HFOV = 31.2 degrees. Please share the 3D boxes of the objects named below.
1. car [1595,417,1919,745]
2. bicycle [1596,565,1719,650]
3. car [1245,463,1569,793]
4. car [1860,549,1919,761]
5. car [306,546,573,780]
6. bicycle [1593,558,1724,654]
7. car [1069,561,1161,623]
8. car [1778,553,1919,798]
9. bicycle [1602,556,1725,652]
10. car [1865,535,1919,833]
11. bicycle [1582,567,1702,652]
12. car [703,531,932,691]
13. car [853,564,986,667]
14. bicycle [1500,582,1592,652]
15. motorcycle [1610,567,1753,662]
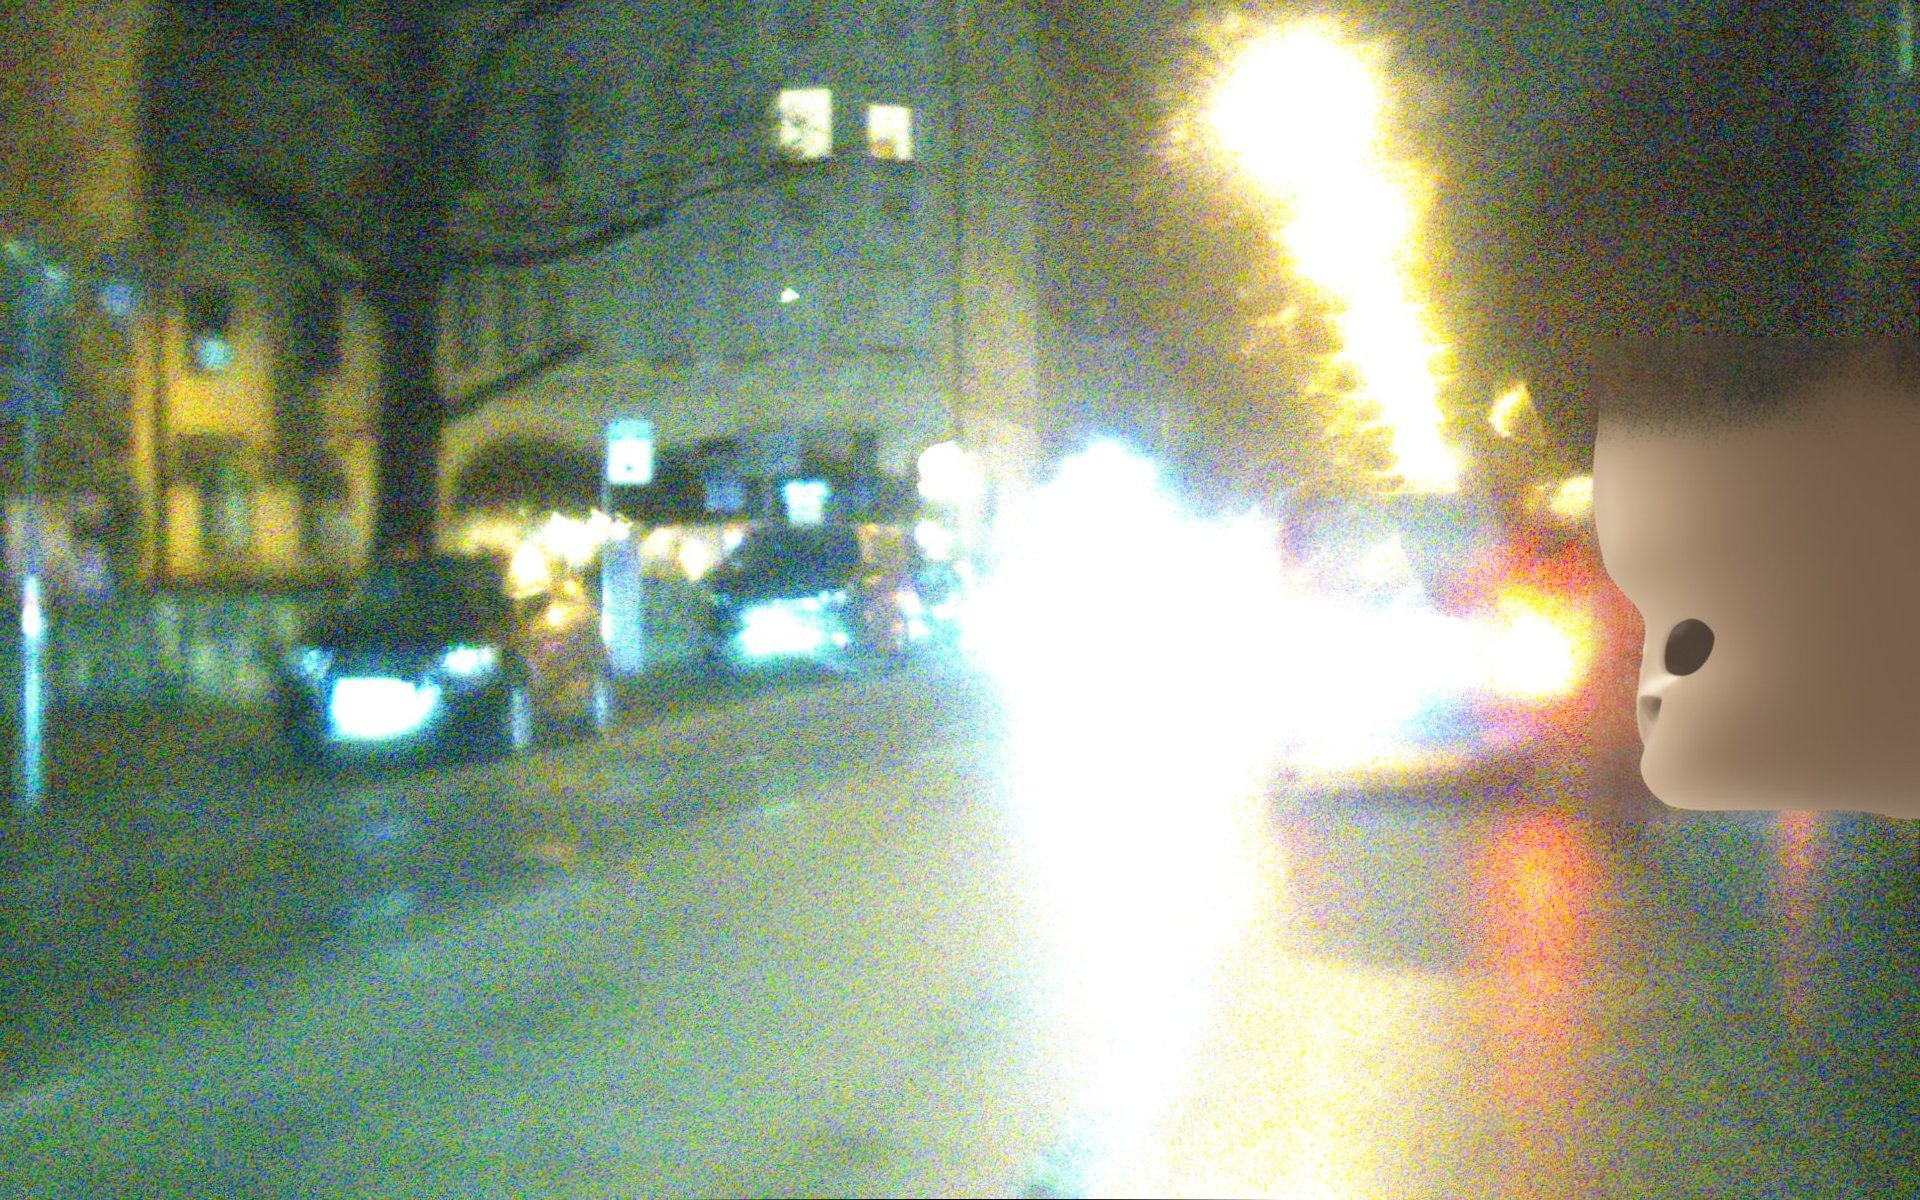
[{"bbox_3d":[7.599,-0.188,26.475,4.925,2.333,2.232,-1,1,-26],"label":"car"},{"bbox_3d":[9.588,0.107,47.284,1.596,1.108,0.418,-2,1,5],"label":"bicycle"},{"bbox_3d":[3.069,0.169,23.382,1.994,2.043,3.999,0,0,8],"label":"car"},{"bbox_3d":[8.281,0.353,24.244,3.442,1.463,1.630,-1,1,-22],"label":"car"},{"bbox_3d":[-4.156,0.415,26.940,1.811,1.664,4.412,-1,1,-12],"label":"car"},{"bbox_3d":[9.298,0.078,45.788,1.665,1.230,0.385,-2,1,11],"label":"bicycle"},{"bbox_3d":[3.502,-0.203,77.241,1.654,1.354,4.221,0,1,8],"label":"car"},{"bbox_3d":[7.231,0.419,21.827,3.717,1.463,1.614,-1,1,-23],"label":"car"},{"bbox_3d":[9.472,0.052,46.286,1.580,1.230,0.417,-2,1,11],"label":"bicycle"},{"bbox_3d":[7.039,0.396,18.249,4.038,1.556,1.751,-1,1,-21],"label":"car"},{"bbox_3d":[9.570,0.129,48.239,1.596,1.154,0.418,-1,0,5],"label":"bicycle"},{"bbox_3d":[-1.680,0.101,42.338,1.867,1.840,4.825,-1,1,9],"label":"car"},{"bbox_3d":[-0.579,0.202,51.426,1.547,1.438,3.562,2,1,6],"label":"car"},{"bbox_3d":[8.045,0.231,47.217,1.211,0.944,0.302,-1,0,5],"label":"bicycle"},{"bbox_3d":[9.171,0.180,43.723,1.632,1.120,0.653,-3,1,2],"label":"motorcycle"}]
